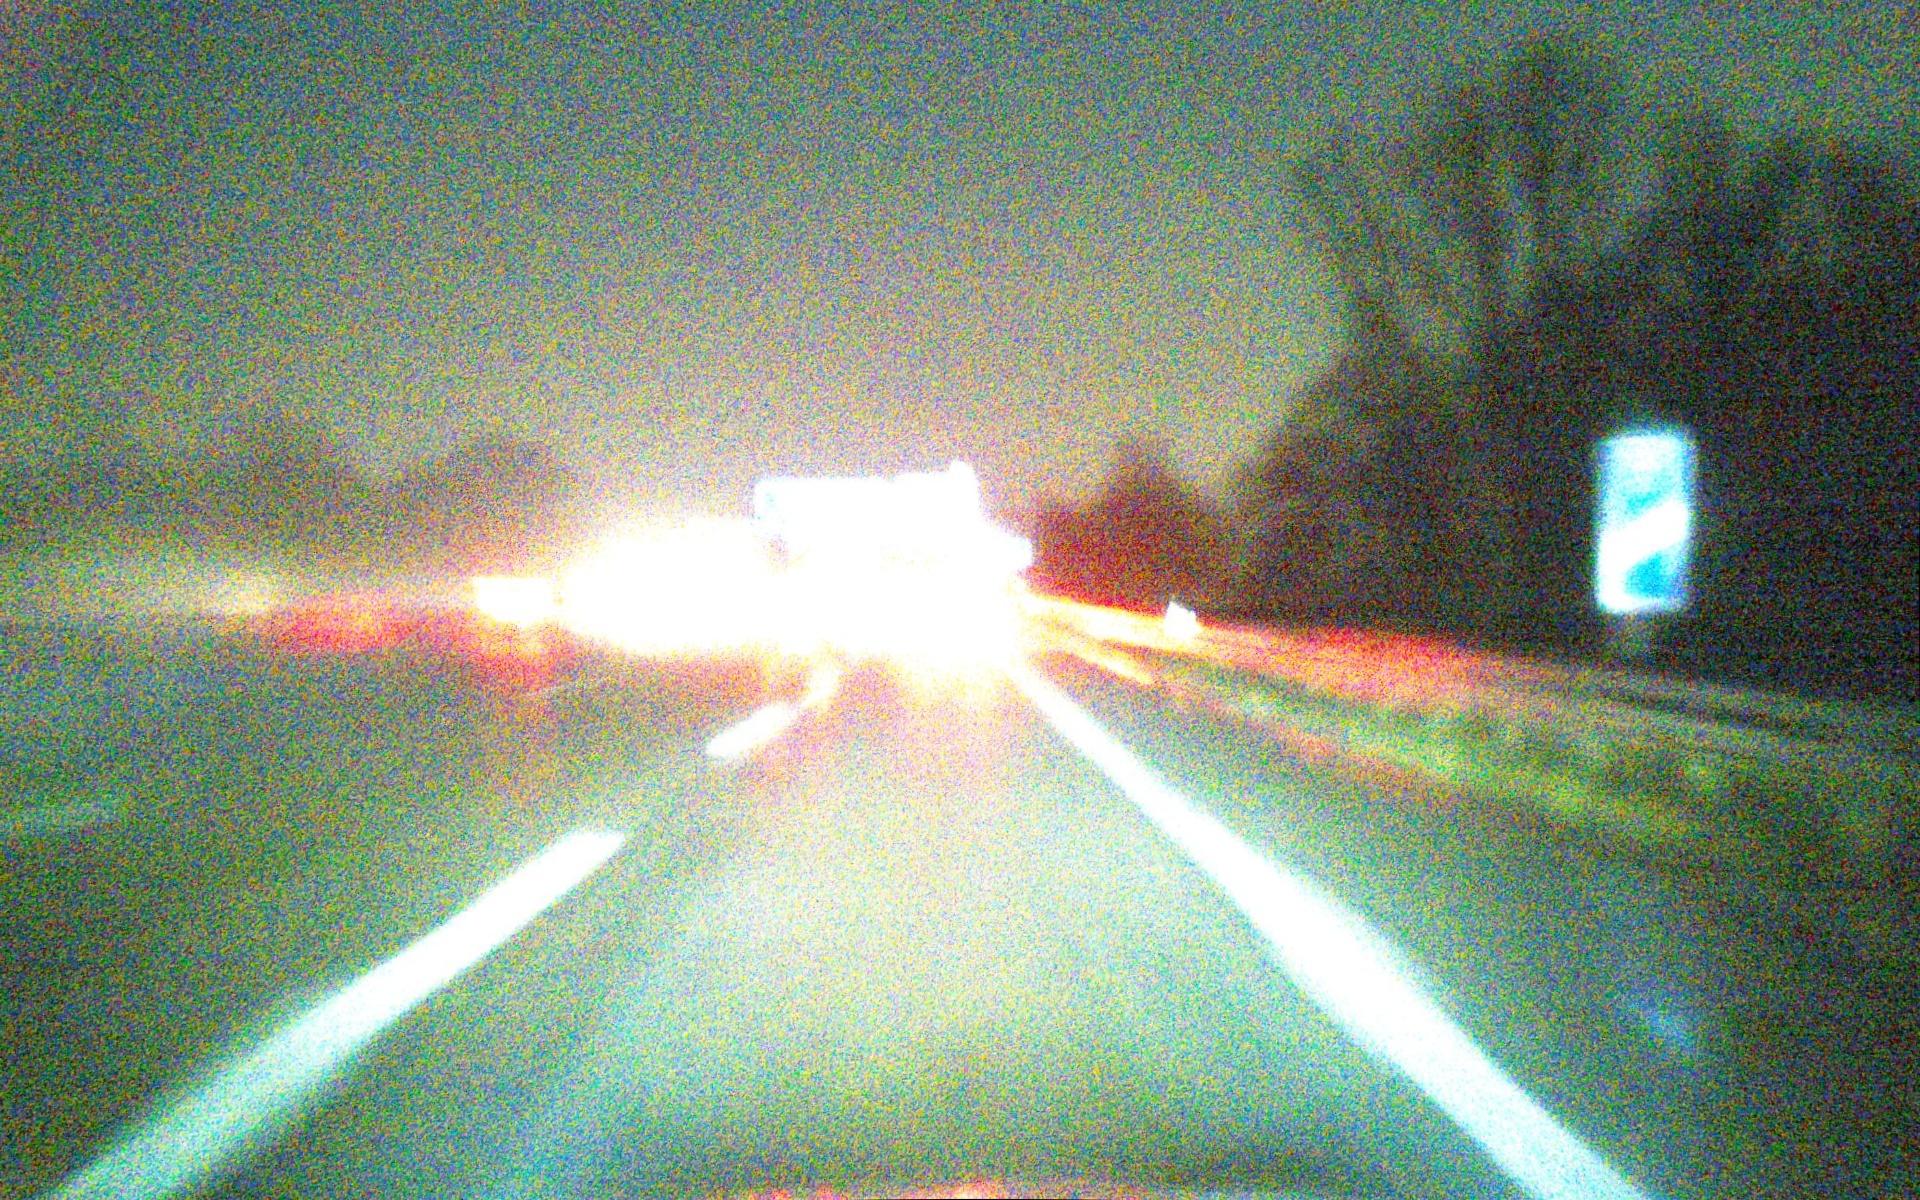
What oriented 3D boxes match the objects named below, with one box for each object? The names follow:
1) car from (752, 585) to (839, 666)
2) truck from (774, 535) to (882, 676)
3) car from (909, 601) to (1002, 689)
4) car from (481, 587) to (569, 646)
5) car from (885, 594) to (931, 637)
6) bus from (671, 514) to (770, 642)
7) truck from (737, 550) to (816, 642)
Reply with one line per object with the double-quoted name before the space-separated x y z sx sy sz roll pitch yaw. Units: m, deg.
"car" -4.388 0.669 44.751 2.084 2.049 4.642 1 0 -3
"truck" -5.720 0.257 74.114 4.125 5.747 11.463 1 -1 -2
"car" -0.132 0.983 37.480 1.953 1.839 3.999 1 0 -1
"car" -12.695 0.473 48.518 1.956 1.624 3.993 1 0 -7
"car" -2.598 0.762 81.495 2.084 2.049 4.642 1 0 -3
"bus" -9.335 -0.761 65.619 3.036 4.587 10.903 1 0 -4
"truck" -12.127 -0.205 110.490 4.125 5.747 11.463 1 -1 -2
